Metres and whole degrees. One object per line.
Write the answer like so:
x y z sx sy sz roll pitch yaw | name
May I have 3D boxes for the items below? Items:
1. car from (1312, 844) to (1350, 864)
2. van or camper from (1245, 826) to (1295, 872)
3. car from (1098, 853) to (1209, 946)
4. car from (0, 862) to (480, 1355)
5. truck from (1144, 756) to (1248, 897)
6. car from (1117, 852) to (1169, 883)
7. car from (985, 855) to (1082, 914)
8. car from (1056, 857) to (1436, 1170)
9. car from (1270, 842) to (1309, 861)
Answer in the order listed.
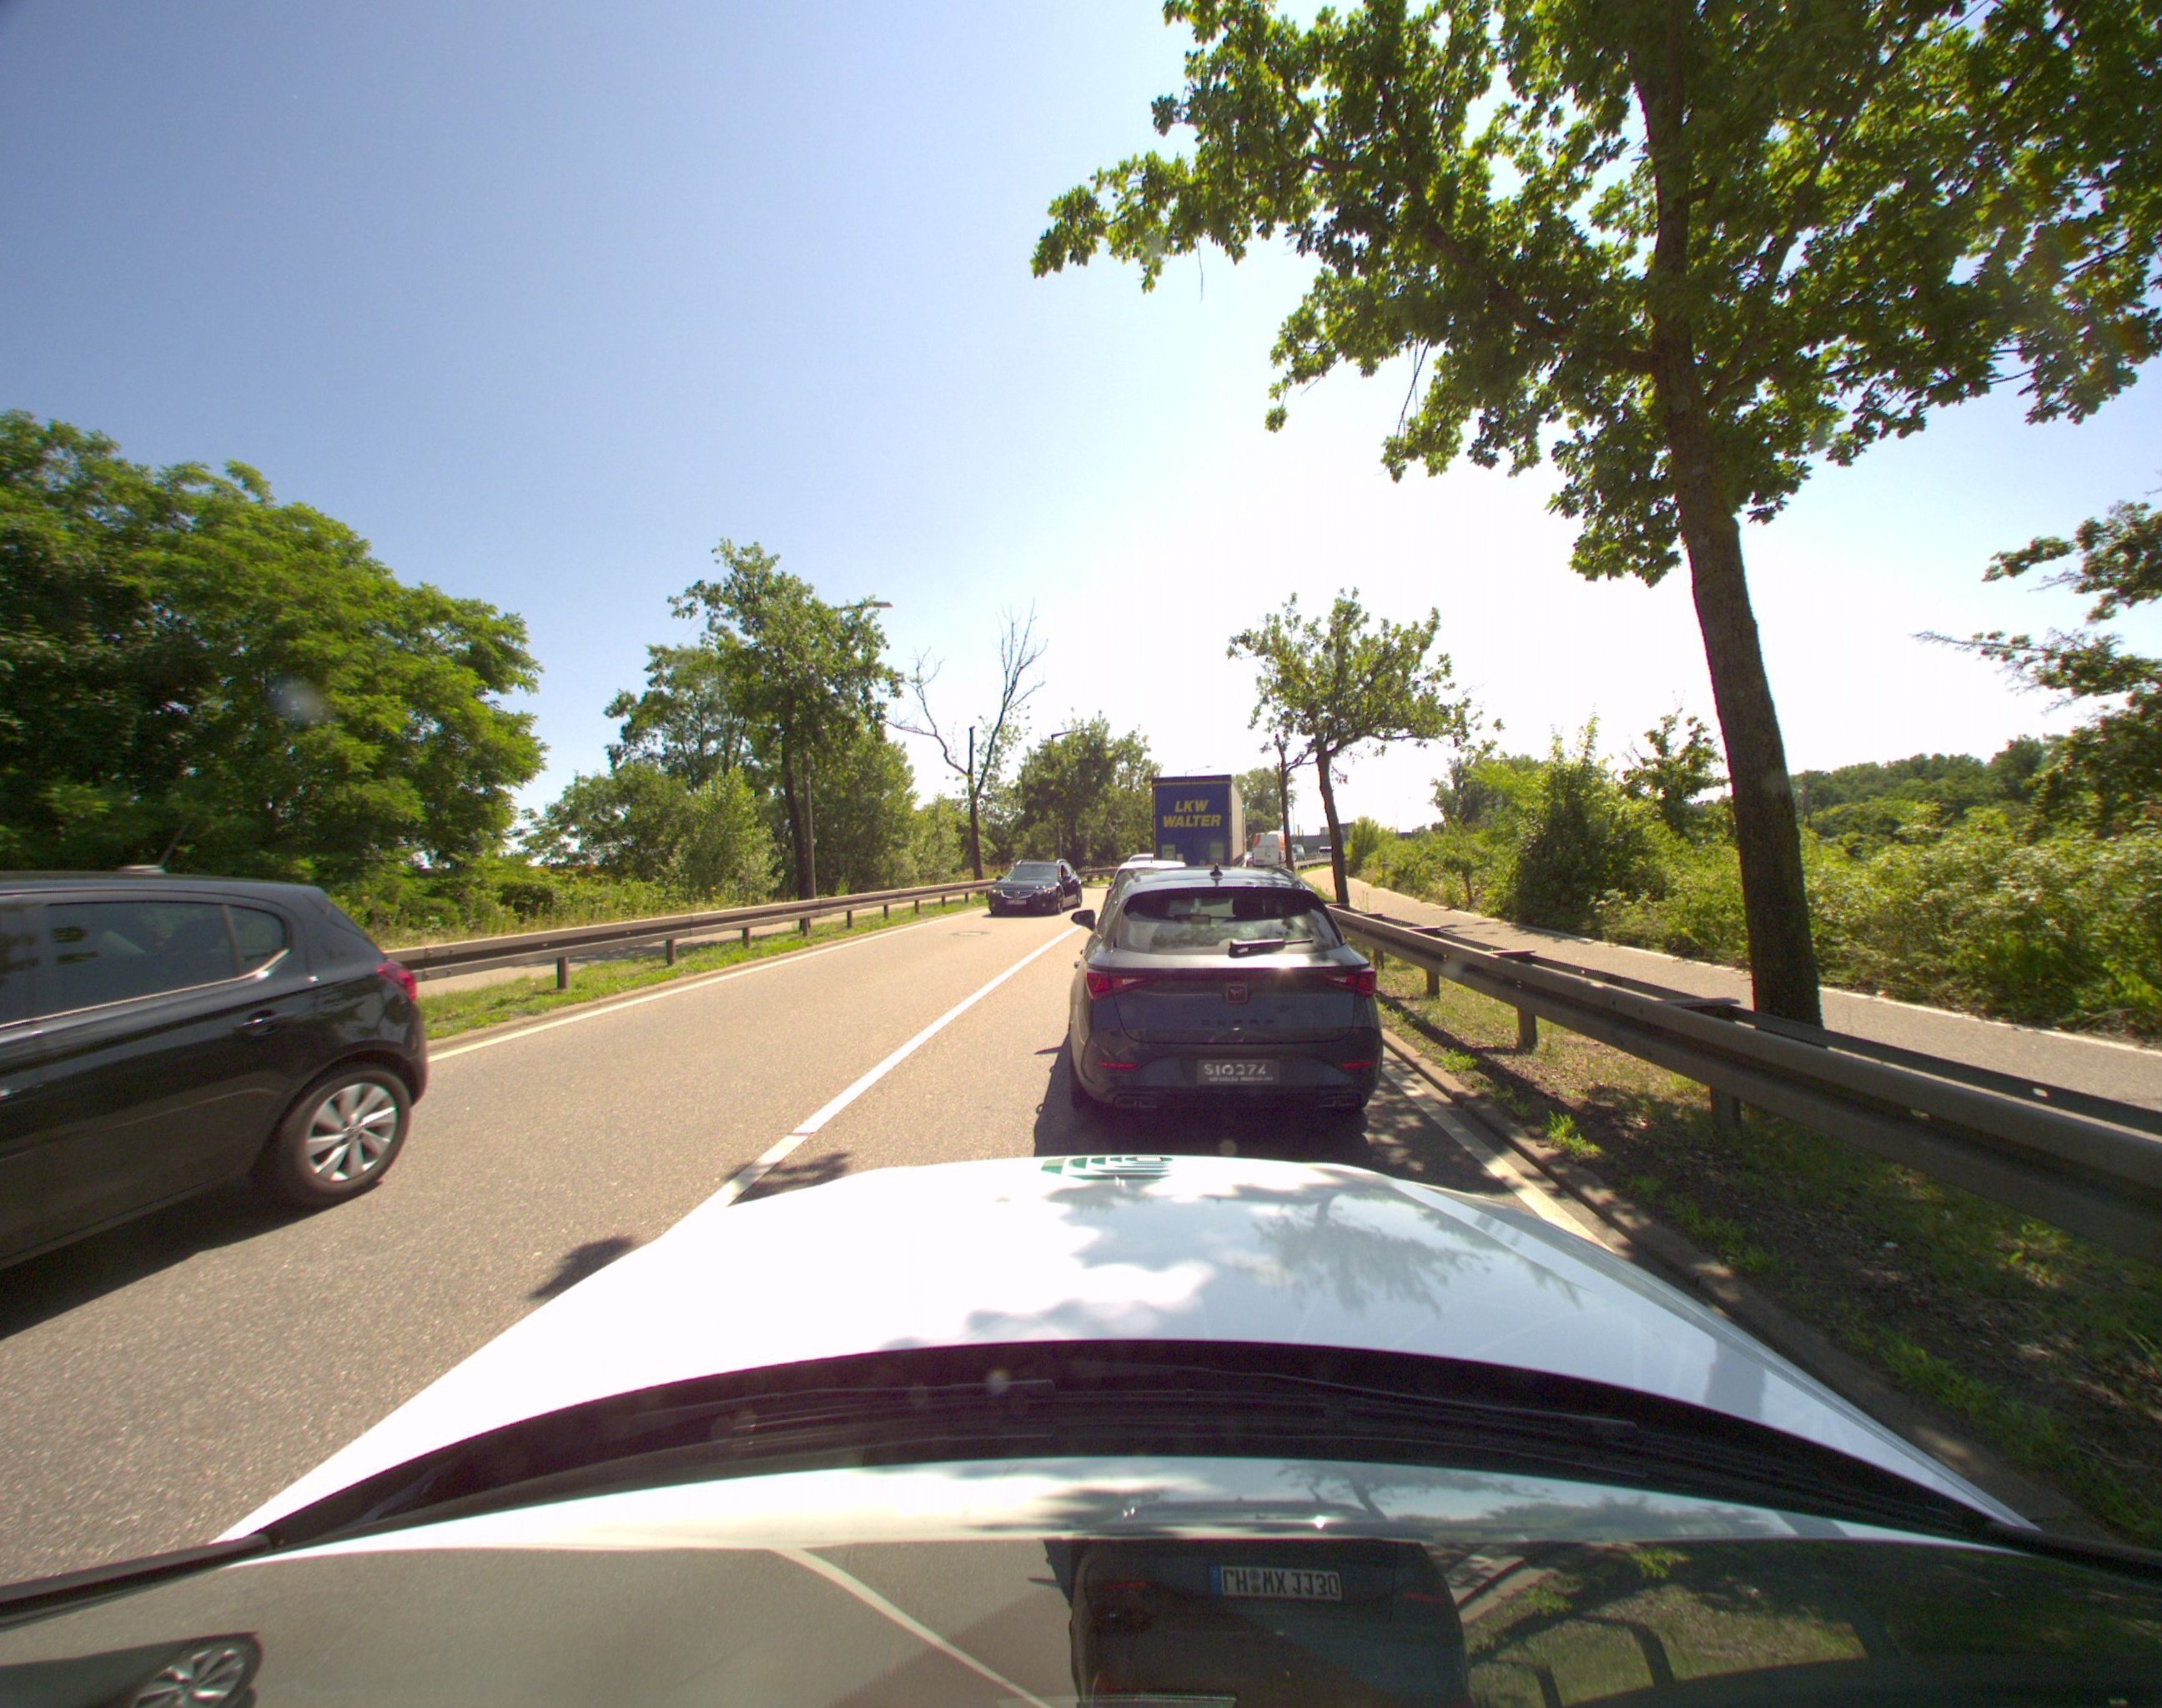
22.304 0.023 72.552 1.974 1.712 4.649 -1 0 33 | car
13.127 -0.290 56.310 2.445 2.998 6.118 -1 0 22 | van or camper
1.323 0.752 15.386 1.801 1.508 4.004 -1 0 4 | car
-4.088 0.780 2.388 1.664 1.466 3.823 -1 0 3 | car
5.337 -0.836 34.177 2.930 4.449 16.855 -1 0 13 | truck
3.164 0.650 40.848 1.861 1.498 4.016 -1 0 15 | car
-1.181 0.765 22.344 1.850 1.421 4.267 -1 0 8 | car
0.837 0.750 5.711 1.737 1.432 3.882 -1 0 2 | car
19.657 -0.228 76.709 2.109 1.681 4.910 -1 0 33 | car
